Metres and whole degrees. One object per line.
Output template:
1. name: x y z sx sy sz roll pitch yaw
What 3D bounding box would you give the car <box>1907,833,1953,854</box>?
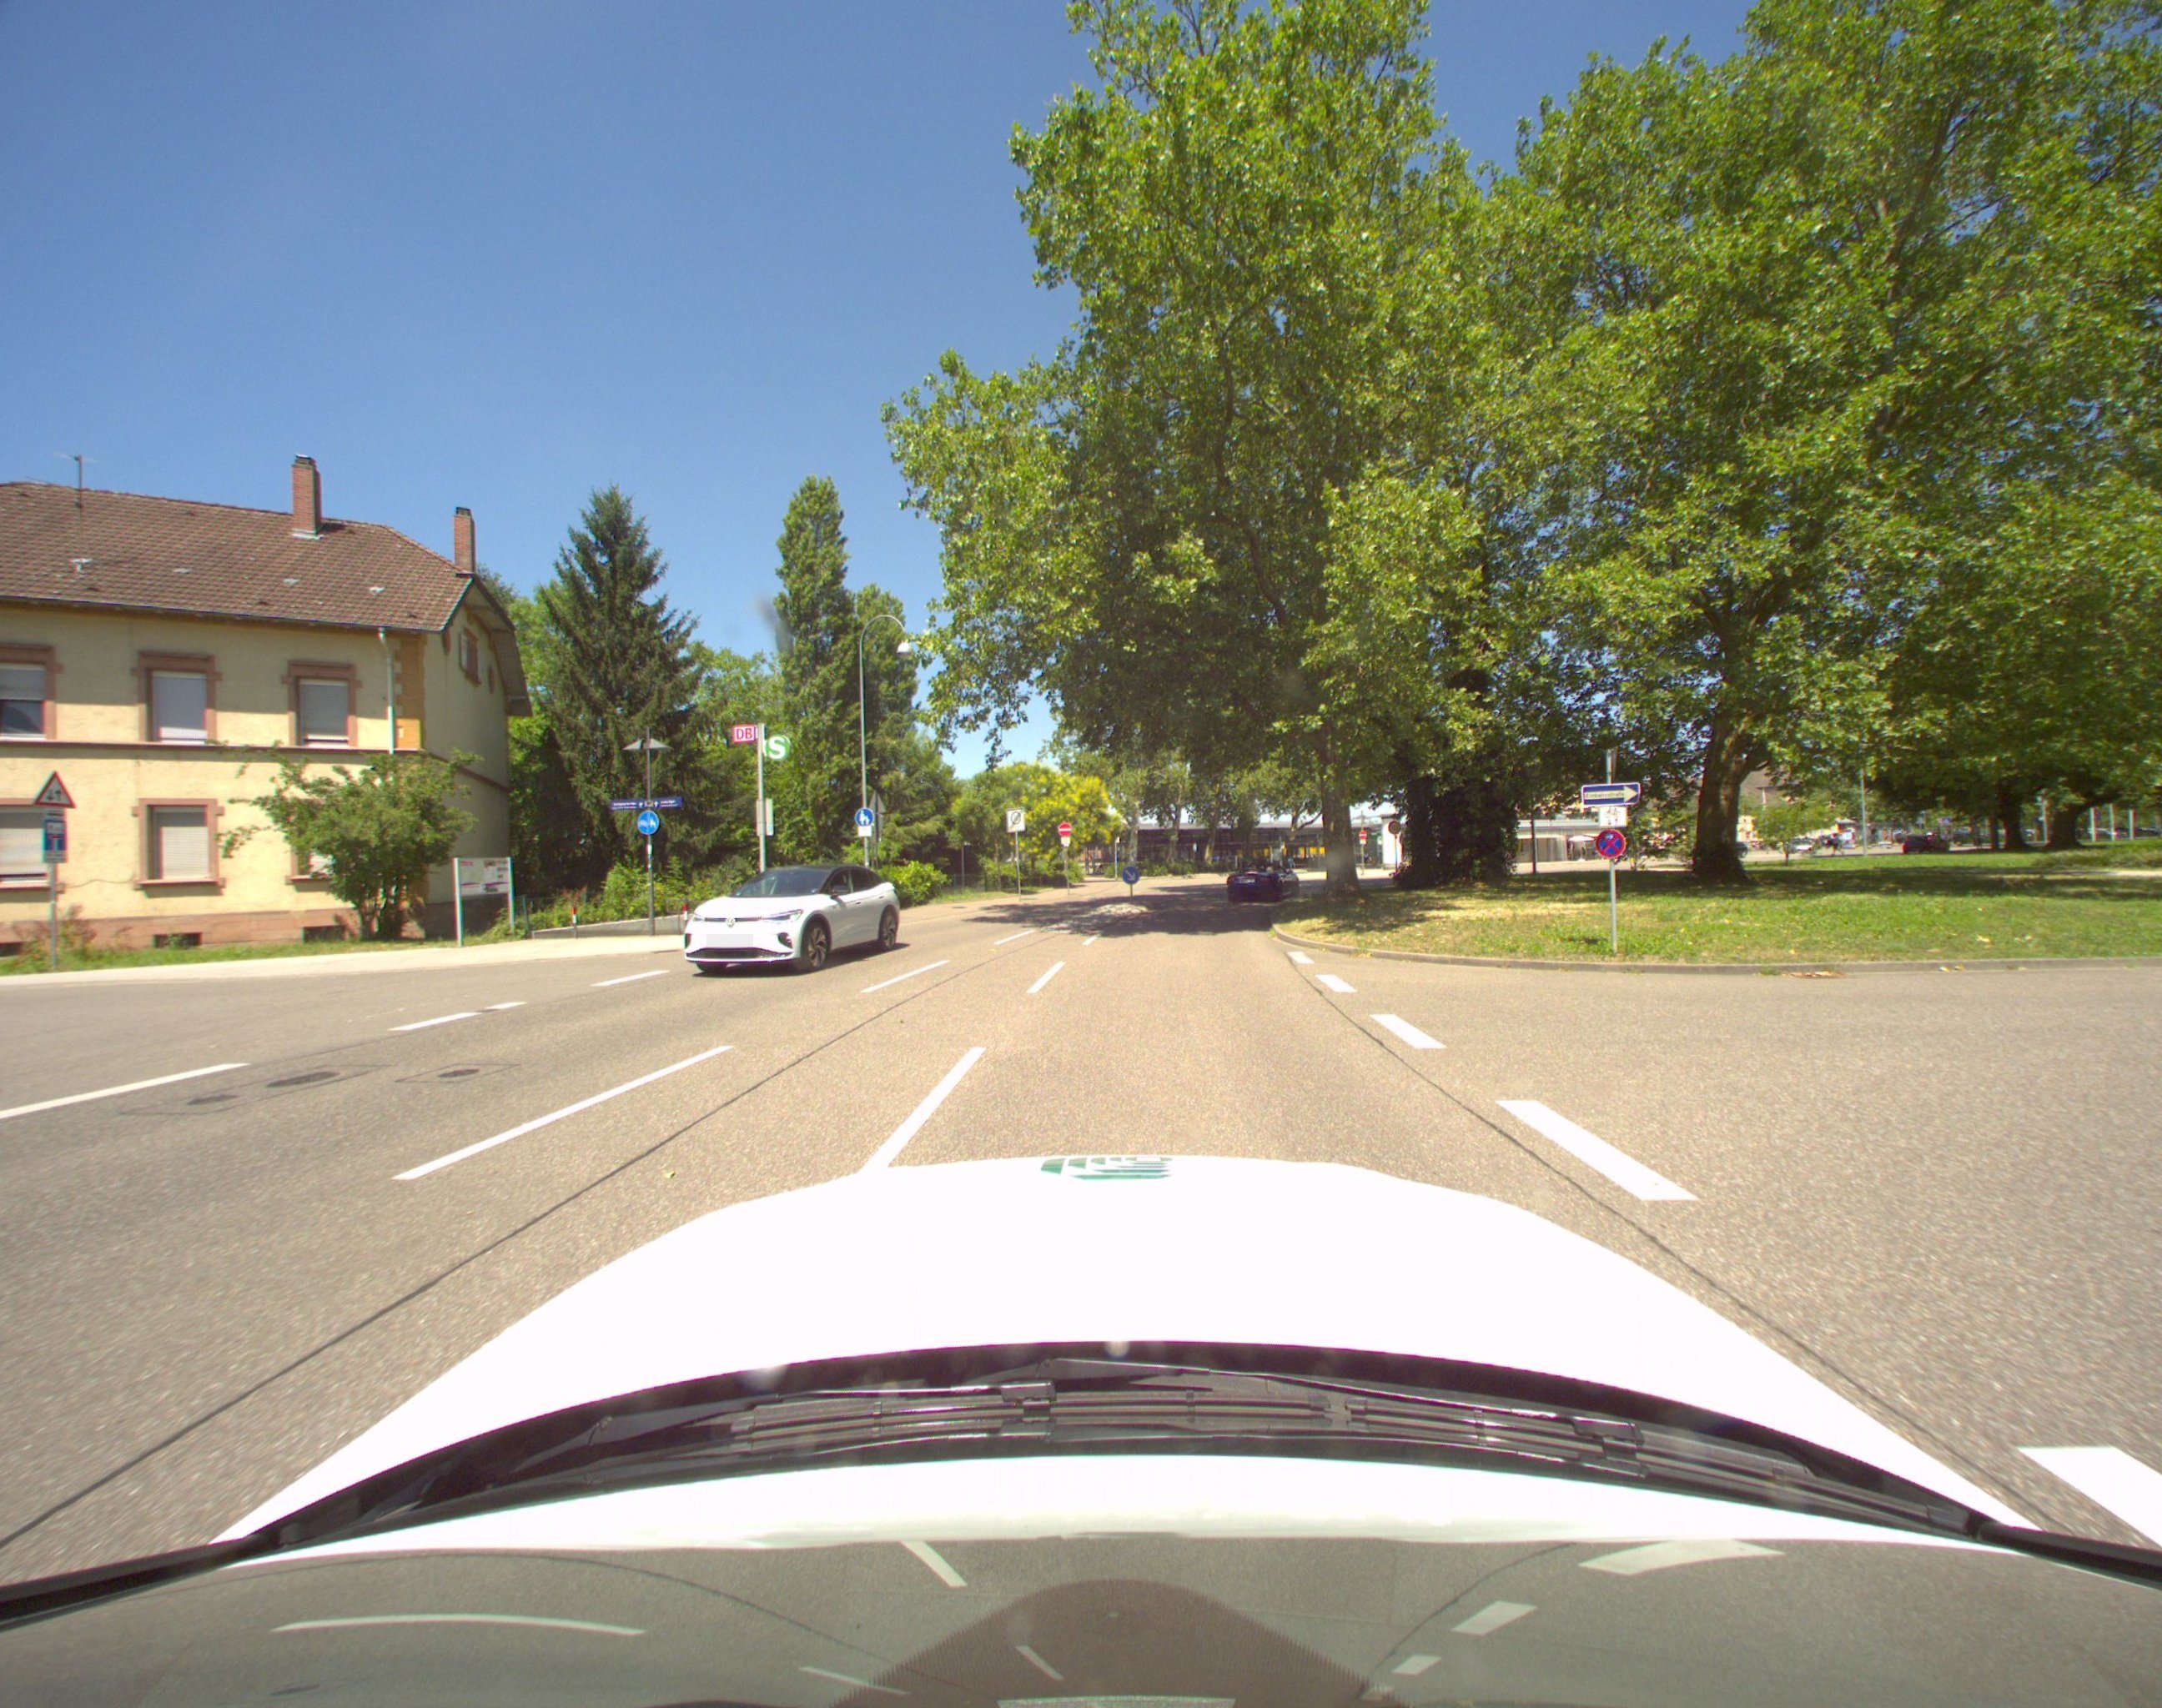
1. car: 64.393 -0.775 61.734 3.720 1.478 1.706 -1 -2 -33

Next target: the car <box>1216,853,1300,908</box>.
1. car: 6.617 0.926 30.094 2.105 1.848 4.072 -2 0 26

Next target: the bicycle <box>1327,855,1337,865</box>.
1. bicycle: 29.885 0.695 97.066 0.386 1.094 1.375 0 -2 -22

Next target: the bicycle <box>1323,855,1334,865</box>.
1. bicycle: 29.431 0.695 96.905 0.387 1.094 1.374 0 -2 -25

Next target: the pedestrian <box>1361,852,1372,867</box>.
1. pedestrian: 31.312 0.574 89.240 0.773 1.617 0.811 -2 -1 -44

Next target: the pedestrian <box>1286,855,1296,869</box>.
1. pedestrian: 21.947 0.813 85.109 0.824 1.464 0.601 -2 -1 -29

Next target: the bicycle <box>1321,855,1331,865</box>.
1. bicycle: 29.070 0.692 96.693 0.387 1.094 1.374 0 -2 -23

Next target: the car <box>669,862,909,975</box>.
1. car: -4.587 0.940 13.595 1.833 1.530 4.350 -2 0 9

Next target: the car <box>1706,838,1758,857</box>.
1. car: 57.227 -0.576 71.552 4.796 1.478 1.709 -1 -1 -27
